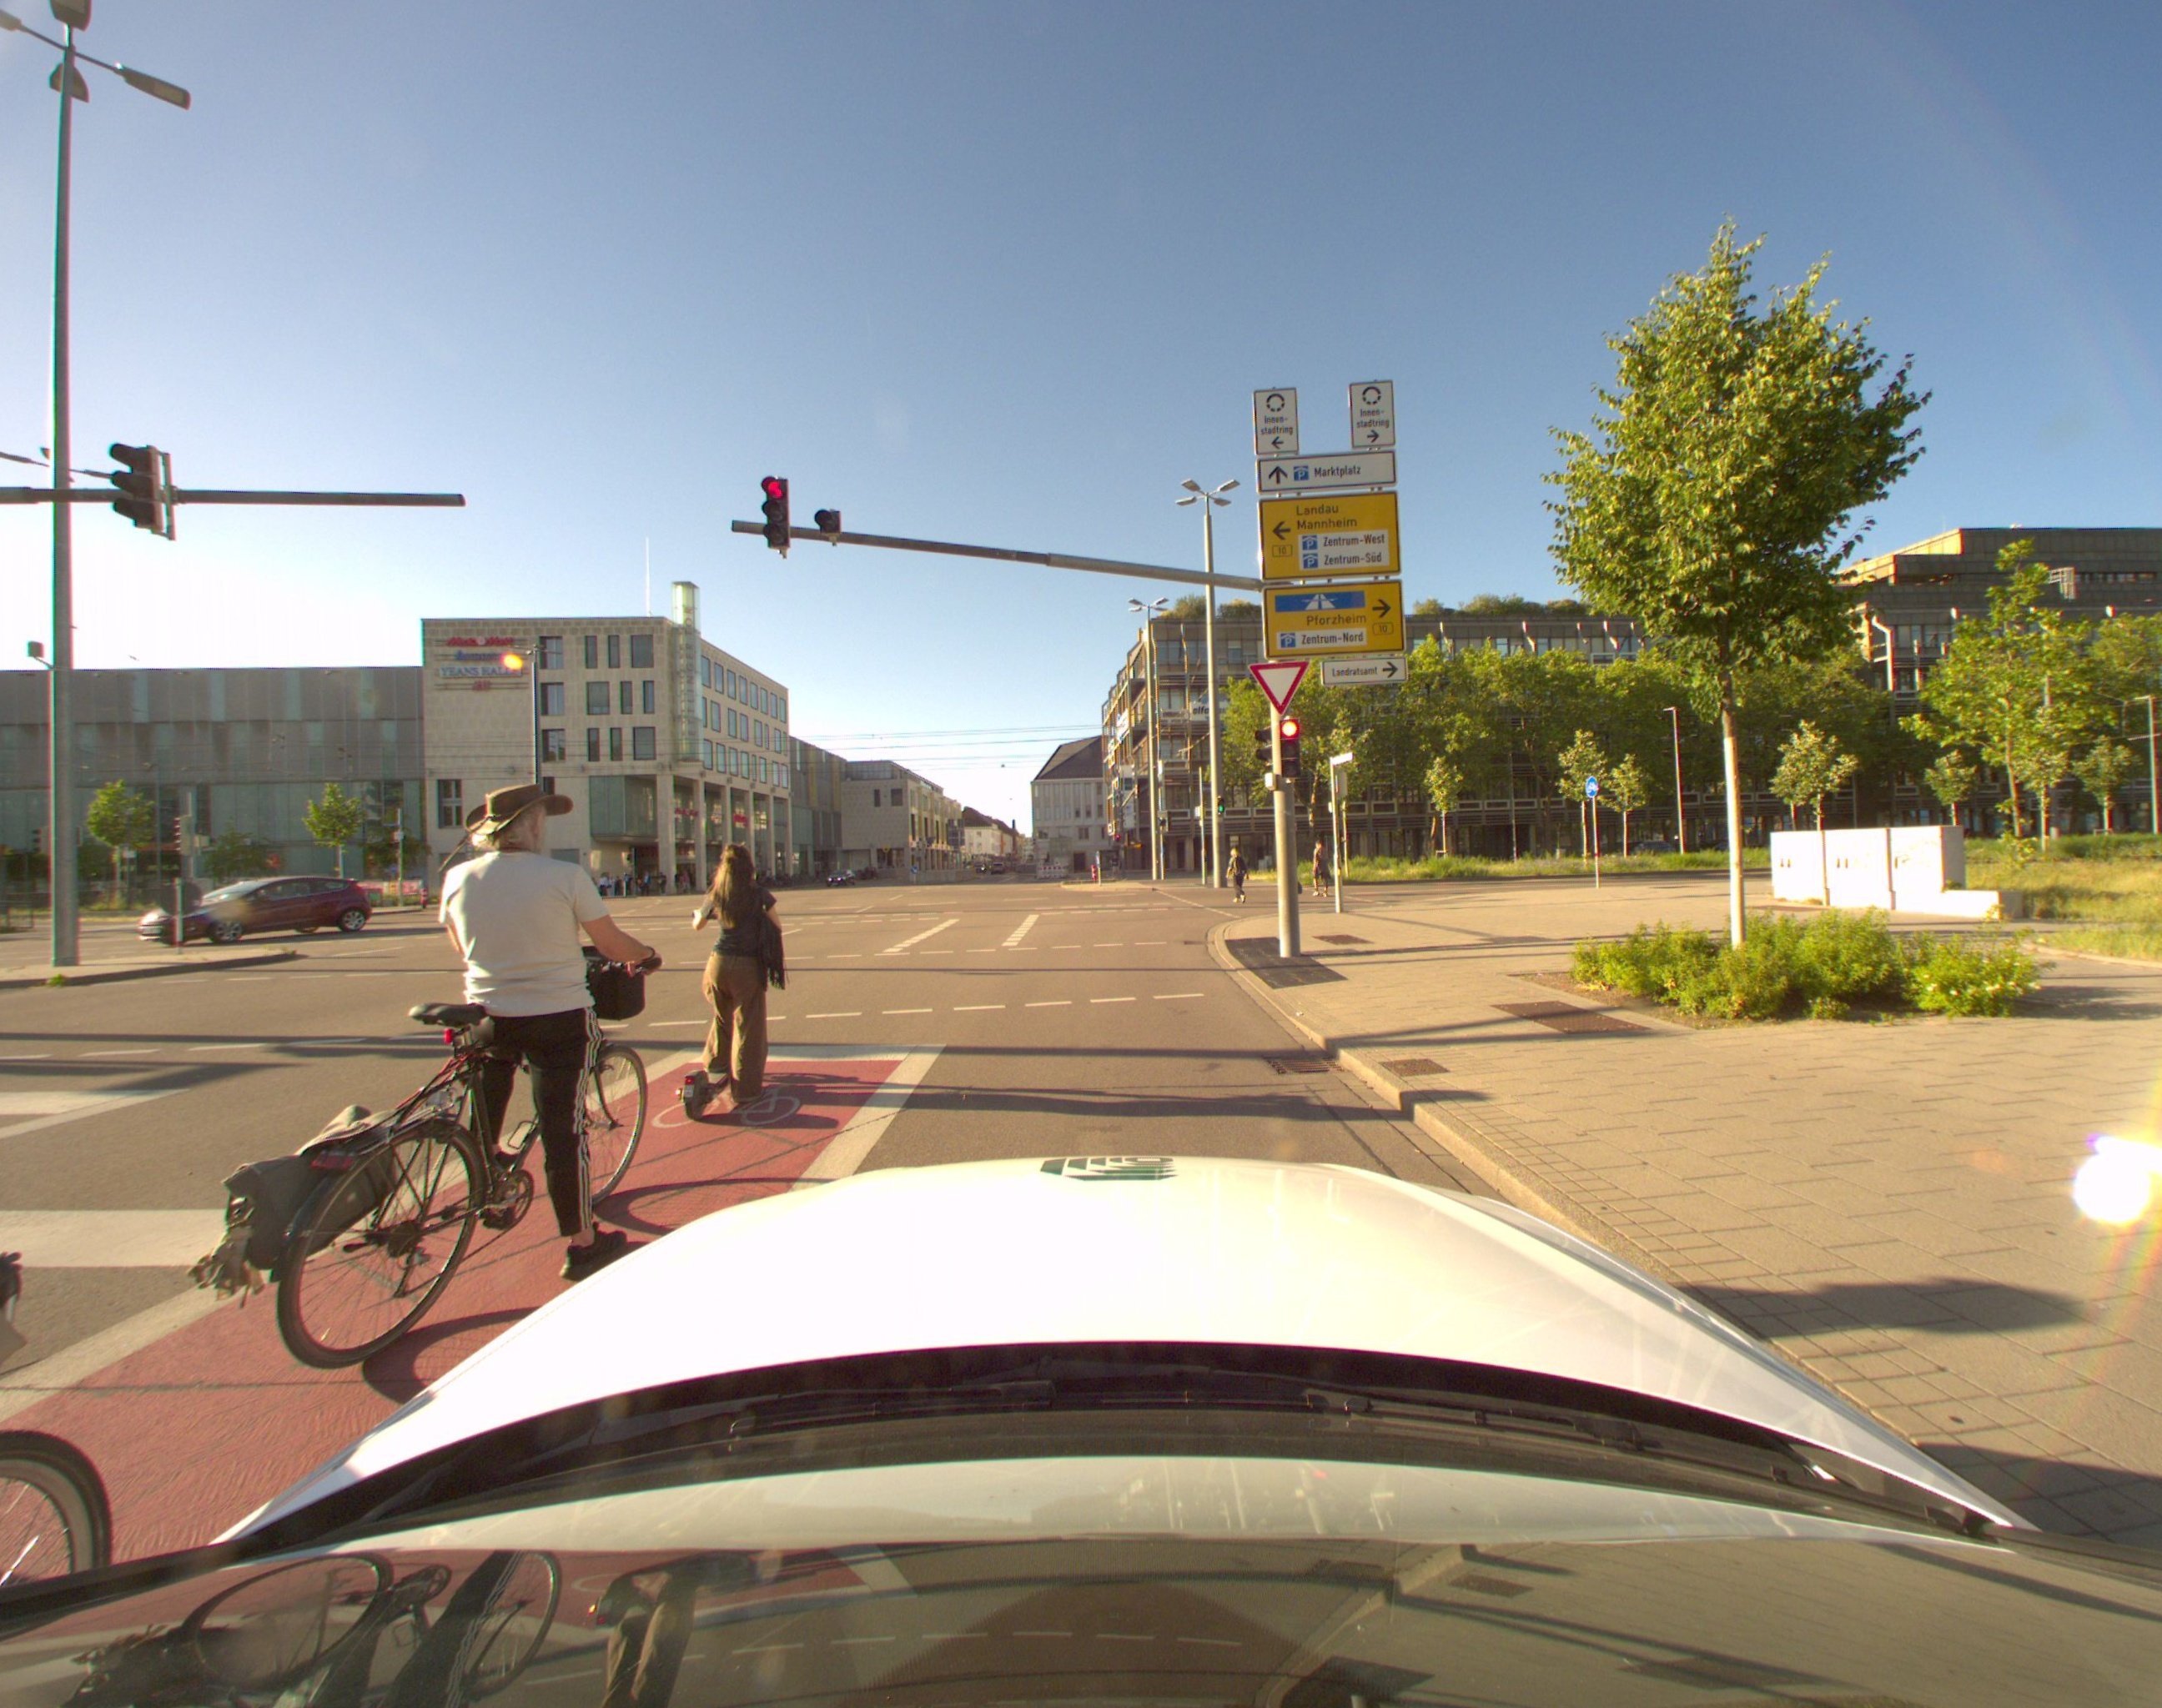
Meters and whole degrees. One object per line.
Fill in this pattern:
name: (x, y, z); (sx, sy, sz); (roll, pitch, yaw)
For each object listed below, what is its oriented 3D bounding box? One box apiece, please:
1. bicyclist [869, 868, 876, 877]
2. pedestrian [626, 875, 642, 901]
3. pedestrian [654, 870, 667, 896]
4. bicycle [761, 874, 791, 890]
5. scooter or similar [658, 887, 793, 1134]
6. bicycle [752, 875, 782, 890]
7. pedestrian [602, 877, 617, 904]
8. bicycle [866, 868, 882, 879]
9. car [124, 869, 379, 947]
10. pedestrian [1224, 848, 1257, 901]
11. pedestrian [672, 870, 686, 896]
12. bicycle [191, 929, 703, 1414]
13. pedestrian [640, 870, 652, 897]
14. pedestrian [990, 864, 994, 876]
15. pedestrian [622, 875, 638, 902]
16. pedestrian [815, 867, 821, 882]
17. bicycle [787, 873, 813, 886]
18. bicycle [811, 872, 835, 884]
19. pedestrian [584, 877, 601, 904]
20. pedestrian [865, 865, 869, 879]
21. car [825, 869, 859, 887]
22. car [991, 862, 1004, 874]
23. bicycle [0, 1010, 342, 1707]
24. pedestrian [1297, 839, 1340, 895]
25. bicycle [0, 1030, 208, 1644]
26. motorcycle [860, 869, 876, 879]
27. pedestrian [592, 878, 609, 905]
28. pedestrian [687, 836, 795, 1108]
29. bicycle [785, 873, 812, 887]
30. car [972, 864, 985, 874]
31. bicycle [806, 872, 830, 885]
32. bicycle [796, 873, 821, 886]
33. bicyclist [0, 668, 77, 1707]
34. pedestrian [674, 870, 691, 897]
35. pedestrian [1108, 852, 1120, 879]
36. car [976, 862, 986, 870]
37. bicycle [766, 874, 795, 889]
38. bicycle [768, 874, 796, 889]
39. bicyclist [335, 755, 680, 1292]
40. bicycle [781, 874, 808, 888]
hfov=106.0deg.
bicyclist: (-24.746, 2.167, 96.590); (0.627, 1.084, 0.507); (0, 0, -30)
pedestrian: (-32.516, 2.478, 59.235); (0.783, 1.885, 0.716); (0, -1, -4)
pedestrian: (-30.795, 2.128, 59.658); (0.800, 1.843, 0.856); (-2, 0, -26)
bicycle: (-26.466, 2.429, 70.643); (2.299, 1.222, 0.612); (-2, -1, -1)
scooter or similar: (-2.158, 0.874, 5.068); (0.547, 1.294, 1.188); (0, -1, -13)
bicycle: (-26.737, 2.420, 69.366); (2.299, 1.222, 0.612); (-2, -1, -1)
pedestrian: (-33.995, 2.634, 58.711); (0.714, 1.885, 0.786); (0, -1, -6)
bicycle: (-24.602, 2.299, 96.669); (1.817, 1.206, 0.506); (0, 0, -33)
car: (-19.500, 1.206, 19.398); (1.642, 1.585, 3.913); (-2, -1, 14)
pedestrian: (4.484, 0.572, 22.922); (0.785, 1.492, 0.644); (0, -1, 1)
pedestrian: (-29.109, 2.076, 58.932); (0.801, 1.843, 0.855); (-2, 0, -30)
bicycle: (-2.149, 0.946, 3.131); (0.483, 1.156, 1.832); (0, -1, 2)
pedestrian: (-31.173, 2.122, 58.341); (0.718, 1.885, 0.781); (0, -1, -25)
pedestrian: (-12.833, 2.264, 117.588); (0.520, 1.679, 0.582); (0, 0, -5)
pedestrian: (-31.949, 2.460, 57.684); (0.783, 1.885, 0.716); (0, -1, -4)
pedestrian: (-30.461, 2.348, 94.213); (0.553, 1.679, 0.606); (0, 0, -8)
bicycle: (-27.633, 2.518, 80.118); (2.299, 1.222, 0.612); (-2, -1, -1)
bicycle: (-27.428, 2.571, 86.639); (2.299, 1.222, 0.612); (-2, -1, -1)
pedestrian: (-35.029, 2.606, 58.361); (0.783, 1.885, 0.716); (0, -1, -4)
pedestrian: (-26.106, 2.210, 99.347); (0.521, 1.679, 0.580); (0, 0, -12)
car: (-20.628, 2.064, 70.499); (1.625, 1.342, 3.999); (-4, -1, 0)
car: (-11.142, 1.881, 108.648); (1.735, 1.531, 3.848); (0, -1, -5)
bicycle: (-1.642, 0.897, 0.555); (0.614, 1.218, 1.831); (0, 0, -1)
pedestrian: (7.238, 0.384, 24.875); (0.880, 1.665, 0.960); (0, -1, -14)
bicycle: (-2.423, 0.985, 0.973); (0.645, 1.109, 1.970); (0, 0, -1)
motorcycle: (-25.786, 2.449, 98.731); (1.807, 1.206, 0.509); (0, 0, -14)
pedestrian: (-33.872, 2.622, 57.365); (0.783, 1.885, 0.716); (0, -1, -4)
pedestrian: (-2.164, 0.709, 5.236); (0.549, 1.633, 0.569); (0, -1, -13)
bicycle: (-27.067, 2.497, 78.123); (2.299, 1.222, 0.612); (-2, -1, -1)
car: (-17.152, 2.486, 136.259); (1.793, 1.657, 3.997); (0, -1, -2)
bicycle: (-27.592, 2.564, 85.573); (2.299, 1.222, 0.612); (-2, -1, -1)
bicycle: (-27.189, 2.525, 81.335); (2.299, 1.222, 0.612); (-2, -1, -1)
bicyclist: (-1.646, 0.563, 0.633); (0.639, 1.579, 0.875); (0, 0, -1)
pedestrian: (-29.601, 2.193, 60.503); (0.883, 2.014, 0.771); (0, -1, -9)
pedestrian: (2.321, 0.827, 57.406); (0.785, 1.890, 0.644); (0, -1, 1)
car: (-21.802, 2.536, 176.818); (1.793, 1.657, 3.997); (0, -1, -2)
bicycle: (-26.569, 2.441, 72.003); (2.299, 1.222, 0.612); (-2, -1, -1)
bicycle: (-26.744, 2.450, 72.888); (2.299, 1.222, 0.612); (-2, -1, -1)
bicyclist: (-2.057, 0.546, 3.054); (0.658, 1.720, 0.866); (0, -1, 1)
bicycle: (-26.700, 2.476, 75.955); (2.299, 1.222, 0.612); (-2, -1, -1)
